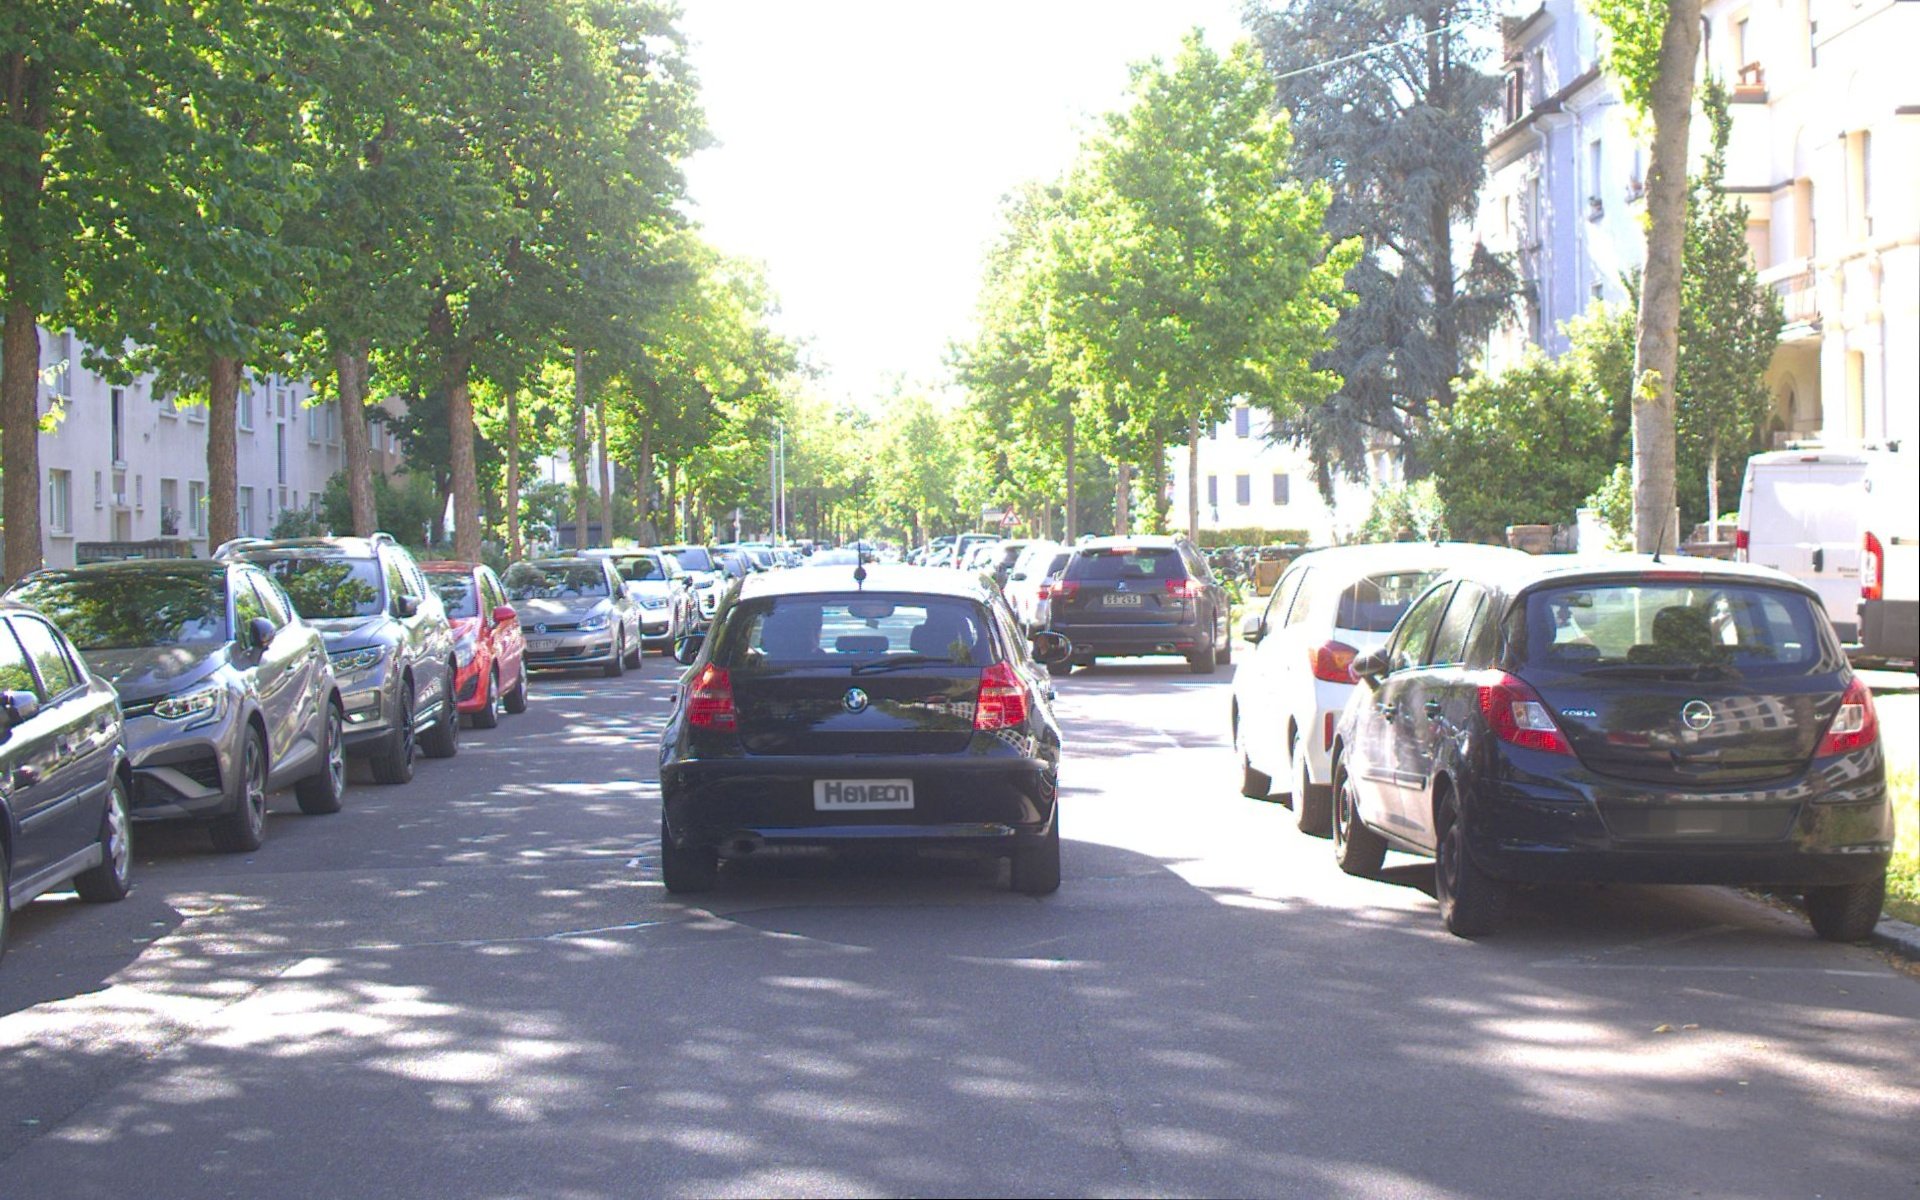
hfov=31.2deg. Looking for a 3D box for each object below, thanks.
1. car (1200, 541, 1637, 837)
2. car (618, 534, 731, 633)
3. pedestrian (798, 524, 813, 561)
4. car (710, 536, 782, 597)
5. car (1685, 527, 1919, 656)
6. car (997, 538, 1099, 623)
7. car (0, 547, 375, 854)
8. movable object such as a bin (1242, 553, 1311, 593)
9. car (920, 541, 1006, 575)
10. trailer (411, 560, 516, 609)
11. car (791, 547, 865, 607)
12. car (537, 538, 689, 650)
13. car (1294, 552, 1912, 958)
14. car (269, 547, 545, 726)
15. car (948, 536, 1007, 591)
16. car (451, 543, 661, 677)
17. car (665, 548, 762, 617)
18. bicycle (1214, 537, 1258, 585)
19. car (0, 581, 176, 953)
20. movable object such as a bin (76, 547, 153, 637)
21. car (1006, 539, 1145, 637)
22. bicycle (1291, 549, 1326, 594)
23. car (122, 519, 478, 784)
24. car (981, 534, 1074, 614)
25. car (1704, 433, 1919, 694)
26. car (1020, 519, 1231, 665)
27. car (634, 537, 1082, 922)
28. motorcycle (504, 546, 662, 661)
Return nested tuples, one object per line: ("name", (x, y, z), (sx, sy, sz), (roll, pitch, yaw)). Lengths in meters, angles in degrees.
("car", (2.450, 0.411, 19.312), (1.732, 1.482, 4.010), (0, 1, -3))
("car", (-5.122, -0.317, 62.128), (1.728, 1.612, 4.367), (-4, 1, -2))
("pedestrian", (-8.000, -2.955, 177.807), (0.715, 1.894, 0.837), (-1, 1, -2))
("car", (-5.896, -0.942, 95.035), (1.811, 1.590, 4.233), (-1, 1, -1))
("car", (10.928, -0.112, 40.241), (4.721, 1.464, 1.952), (-1, 1, 14))
("car", (1.652, -0.390, 65.734), (1.654, 1.527, 3.970), (2, 1, -2))
("car", (-4.594, 0.479, 19.587), (1.769, 1.526, 4.420), (-1, 1, 0))
("movable object such as a bin", (7.399, -0.632, 80.223), (1.222, 0.901, 1.663), (-1, 1, 20))
("car", (0.130, -2.057, 166.790), (3.986, 1.581, 1.727), (-1, 1, -5))
("trailer", (-11.053, -0.352, 76.708), (1.789, 1.030, 3.281), (-1, 1, 1))
("car", (-3.382, -0.607, 88.126), (1.809, 1.441, 4.367), (-2, 1, -2))
("car", (-5.031, -0.129, 50.378), (2.063, 1.519, 4.723), (-1, 1, -4))
("car", (2.572, 0.543, 14.744), (1.670, 1.445, 4.179), (1, 1, -2))
("car", (-4.912, 0.278, 31.080), (1.856, 1.464, 4.182), (-1, 1, -1))
("car", (0.619, -1.354, 125.188), (1.971, 1.942, 4.986), (-1, 1, -2))
("car", (-4.927, 0.077, 42.550), (2.043, 1.519, 4.606), (-1, 1, 0))
("car", (-5.323, -0.399, 74.595), (1.779, 1.374, 4.263), (-3, 1, -1))
("bicycle", (7.429, -1.052, 92.590), (0.838, 1.253, 2.232), (0, 1, -5))
("car", (-4.559, 0.649, 14.160), (1.784, 1.348, 4.482), (-2, 1, -2))
("movable object such as a bin", (-12.780, -0.125, 51.988), (0.929, 1.319, 1.379), (-1, 1, -6))
("car", (1.800, -0.226, 55.019), (1.821, 1.464, 4.910), (1, 1, -2))
("bicycle", (7.768, -0.639, 76.718), (0.581, 0.971, 1.903), (-1, 1, 0))
("car", (-4.638, 0.292, 24.822), (1.767, 1.682, 4.815), (-2, 1, -2))
("car", (1.443, -0.607, 75.312), (1.926, 1.646, 5.095), (1, 1, 0))
("car", (9.782, -0.394, 32.405), (5.039, 2.298, 2.235), (-1, 1, -24))
("car", (1.768, -0.089, 38.268), (1.895, 1.519, 4.967), (0, 0, -2))
("car", (-0.410, 0.489, 15.978), (1.782, 1.518, 4.000), (-2, 1, 0))
("motorcycle", (-5.104, 0.045, 46.402), (0.987, 1.498, 2.233), (-2, 1, -41))
